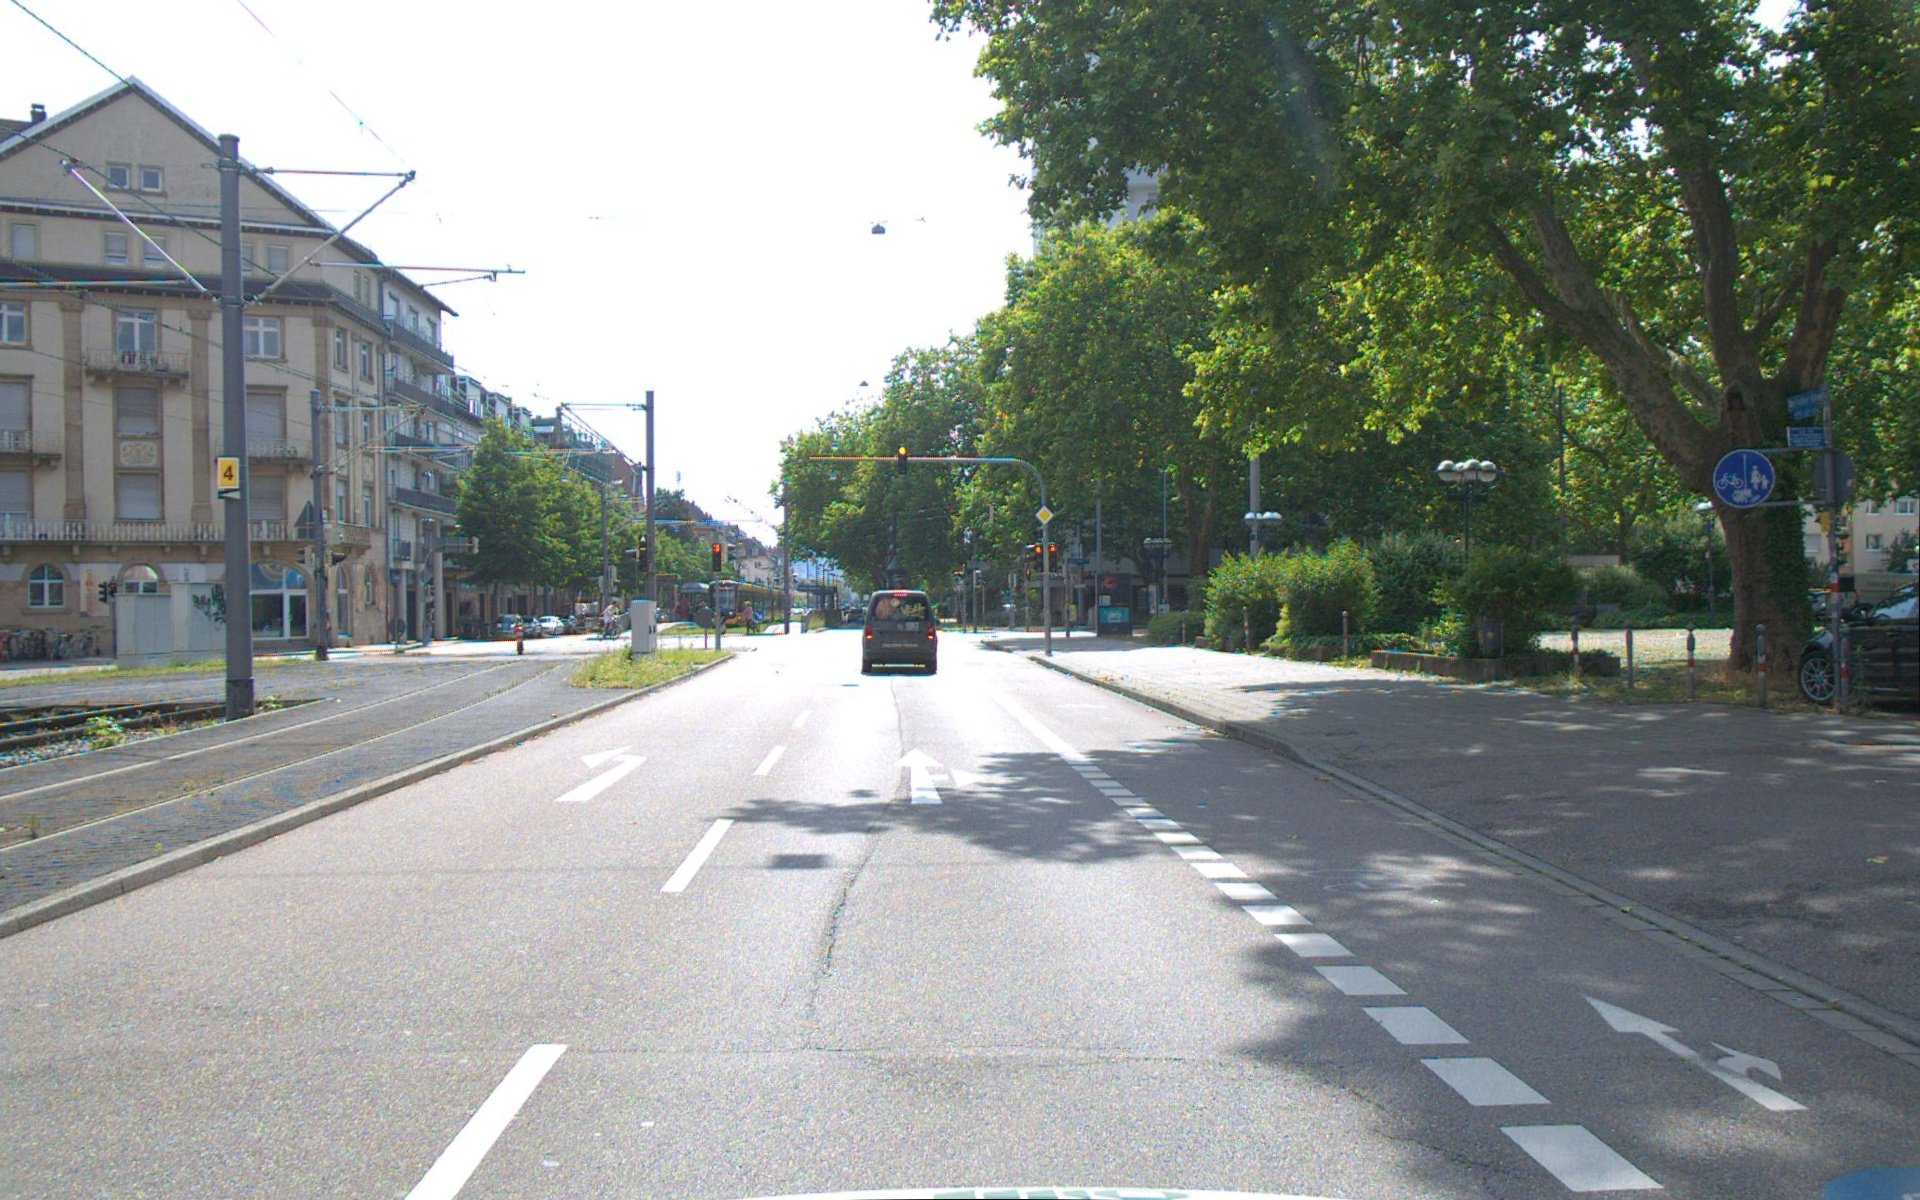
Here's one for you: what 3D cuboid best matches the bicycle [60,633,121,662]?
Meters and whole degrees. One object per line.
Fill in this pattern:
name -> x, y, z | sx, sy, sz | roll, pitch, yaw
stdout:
bicycle -> -35.475, 1.932, 67.532 | 0.786, 1.071, 2.568 | -1, 0, 9

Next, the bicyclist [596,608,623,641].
bicyclist -> -16.748, 1.187, 78.940 | 0.979, 1.538, 0.779 | -1, 0, 30

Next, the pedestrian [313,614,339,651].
pedestrian -> -28.464, 1.453, 74.253 | 0.681, 1.624, 0.857 | -2, -1, 41

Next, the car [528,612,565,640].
car -> -31.556, 1.972, 126.244 | 1.954, 2.049, 3.998 | -1, 0, -3

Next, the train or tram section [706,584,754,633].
train or tram section -> -17.034, 0.633, 123.241 | 2.196, 3.390, 12.964 | -1, 0, -2

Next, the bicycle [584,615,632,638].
bicycle -> -16.791, 1.261, 78.968 | 2.260, 1.067, 0.894 | -1, 0, 33

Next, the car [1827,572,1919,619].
car -> 41.846, -0.212, 74.685 | 4.325, 2.049, 2.076 | -1, 0, -2

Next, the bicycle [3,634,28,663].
bicycle -> -37.817, 1.932, 66.233 | 0.795, 1.071, 2.538 | -1, 0, -31

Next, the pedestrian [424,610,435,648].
pedestrian -> -28.318, 1.537, 88.264 | 0.468, 2.049, 0.419 | -1, 0, -8

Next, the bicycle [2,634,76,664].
bicycle -> -36.284, 1.923, 65.170 | 2.531, 1.071, 0.675 | -1, 0, -31

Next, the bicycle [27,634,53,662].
bicycle -> -37.095, 1.935, 66.681 | 0.795, 1.071, 2.538 | -1, 0, -31

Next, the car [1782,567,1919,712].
car -> 10.651, 0.387, 17.574 | 1.616, 1.496, 4.040 | -1, 0, -4

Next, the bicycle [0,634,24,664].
bicycle -> -37.214, 1.910, 63.705 | 1.958, 1.134, 0.480 | -1, 0, -40

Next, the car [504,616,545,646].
car -> -30.982, 2.196, 117.756 | 1.954, 2.049, 3.998 | -1, 0, -3

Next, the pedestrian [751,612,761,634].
pedestrian -> -10.881, 1.204, 88.363 | 0.454, 1.164, 0.434 | -1, 0, -3

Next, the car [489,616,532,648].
car -> -30.573, 2.165, 112.686 | 1.954, 2.049, 3.998 | -1, 0, -3

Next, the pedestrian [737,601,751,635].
pedestrian -> -11.474, 0.951, 87.802 | 0.646, 1.816, 0.660 | -1, 0, -3

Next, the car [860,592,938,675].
car -> -1.431, 0.750, 38.564 | 1.715, 1.840, 3.473 | 0, 0, -2
